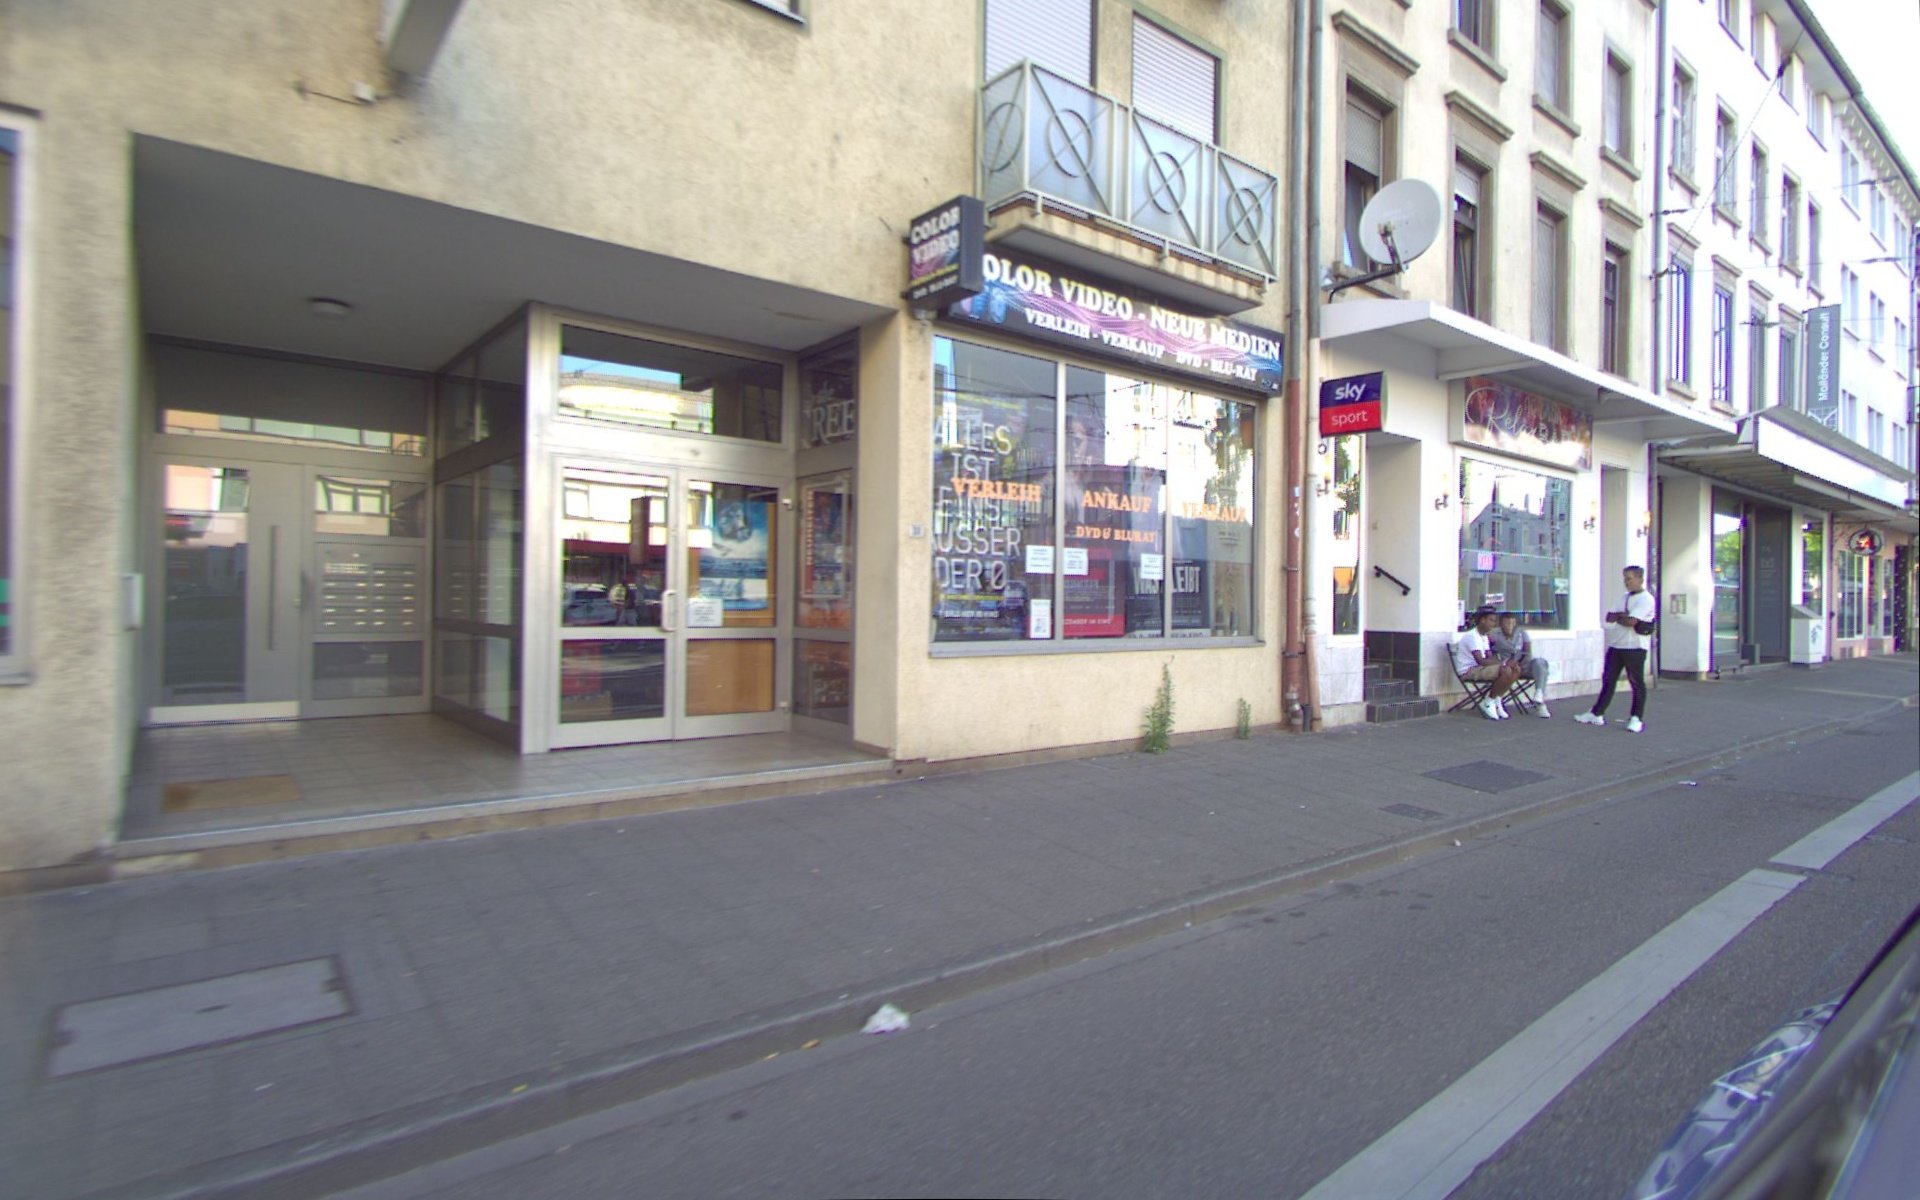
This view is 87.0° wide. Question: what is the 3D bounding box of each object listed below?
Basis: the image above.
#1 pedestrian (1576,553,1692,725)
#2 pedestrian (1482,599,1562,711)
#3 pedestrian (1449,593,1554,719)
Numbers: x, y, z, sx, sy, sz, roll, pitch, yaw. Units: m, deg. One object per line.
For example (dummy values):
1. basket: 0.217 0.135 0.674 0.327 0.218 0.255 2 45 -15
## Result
1. pedestrian: 7.543 0.411 11.345 0.665 1.834 0.709 1 3 -23
2. pedestrian: 6.684 0.625 12.016 0.702 1.189 1.004 5 4 32
3. pedestrian: 6.003 0.601 11.268 0.819 1.270 0.703 4 3 17
